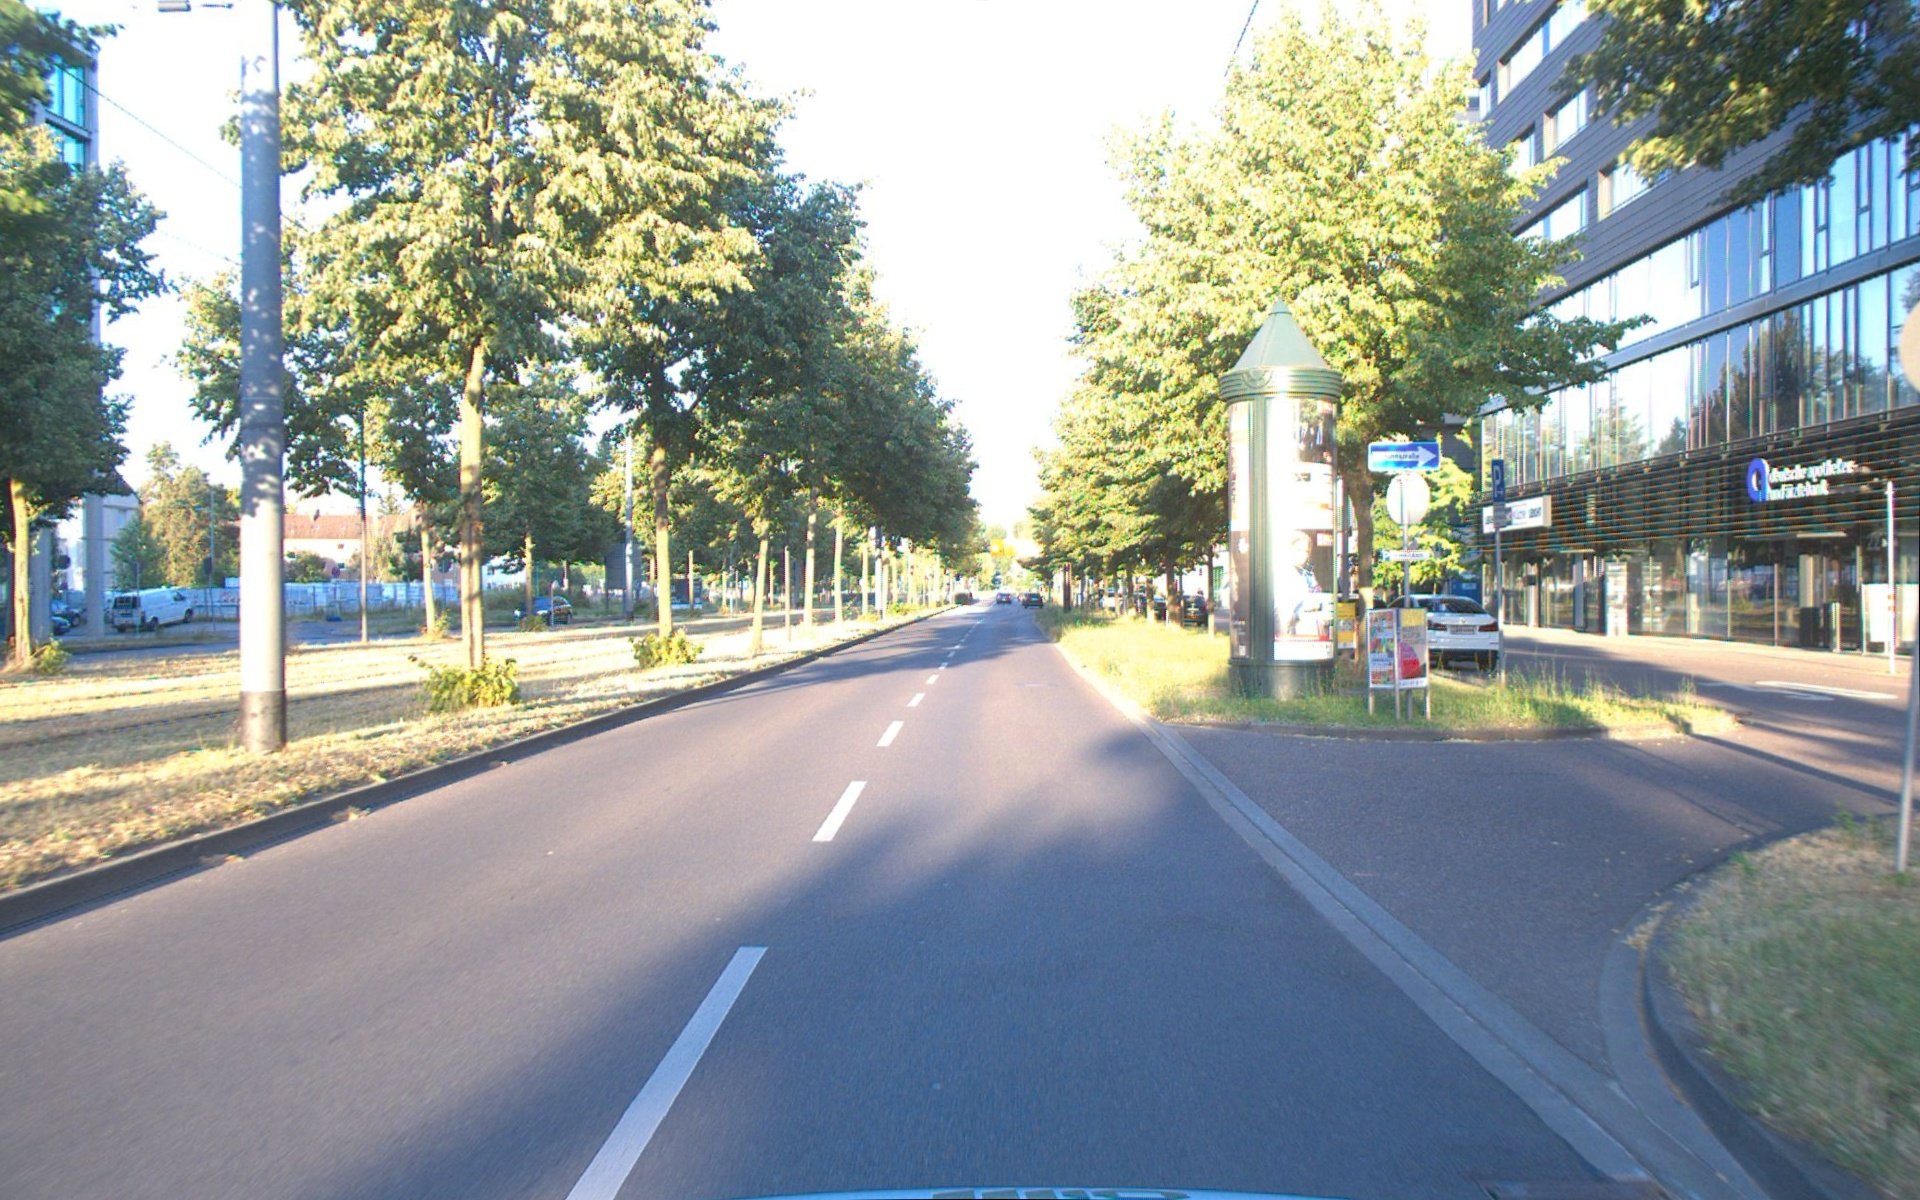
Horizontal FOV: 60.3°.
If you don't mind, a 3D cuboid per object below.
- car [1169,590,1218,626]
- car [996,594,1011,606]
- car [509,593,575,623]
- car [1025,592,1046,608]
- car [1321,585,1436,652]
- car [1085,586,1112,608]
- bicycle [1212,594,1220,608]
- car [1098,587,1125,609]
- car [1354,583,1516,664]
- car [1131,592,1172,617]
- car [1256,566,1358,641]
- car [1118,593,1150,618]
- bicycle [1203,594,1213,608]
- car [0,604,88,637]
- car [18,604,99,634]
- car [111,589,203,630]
[{"bbox_3d":[10.789,0.361,76.601,1.744,1.520,4.001,3,1,2],"label":"car"},{"bbox_3d":[5.466,0.018,207.185,1.872,1.512,4.000,0,0,1],"label":"car"},{"bbox_3d":[-20.807,0.391,82.478,1.890,1.447,4.390,-1,0,4],"label":"car"},{"bbox_3d":[7.356,-0.017,161.731,1.872,1.512,4.000,0,0,1],"label":"car"},{"bbox_3d":[10.064,0.397,40.091,1.821,1.522,4.291,-1,1,2],"label":"car"},{"bbox_3d":[12.104,-0.223,144.442,1.953,1.884,4.665,0,0,0],"label":"car"},{"bbox_3d":[19.342,0.079,124.972,0.460,1.057,1.807,0,0,3],"label":"bicycle"},{"bbox_3d":[12.062,-0.173,132.030,1.952,1.671,4.880,0,0,2],"label":"car"},{"bbox_3d":[9.688,0.431,34.156,1.878,1.523,5.041,1,0,0],"label":"car"},{"bbox_3d":[11.242,0.268,97.382,1.814,1.391,4.834,-1,0,0],"label":"car"},{"bbox_3d":[9.862,0.077,47.369,1.945,2.024,4.933,1,0,1],"label":"car"},{"bbox_3d":[11.269,0.326,107.364,1.674,1.542,3.759,2,0,1],"label":"car"},{"bbox_3d":[18.796,0.065,125.259,0.582,1.057,1.893,0,0,3],"label":"bicycle"},{"bbox_3d":[-42.794,0.940,76.511,3.903,1.471,1.895,-1,0,4],"label":"car"},{"bbox_3d":[-47.070,0.971,86.464,1.952,1.443,4.001,-1,0,2],"label":"car"},{"bbox_3d":[-41.633,0.466,85.932,2.160,2.049,5.085,-1,0,2],"label":"car"}]
